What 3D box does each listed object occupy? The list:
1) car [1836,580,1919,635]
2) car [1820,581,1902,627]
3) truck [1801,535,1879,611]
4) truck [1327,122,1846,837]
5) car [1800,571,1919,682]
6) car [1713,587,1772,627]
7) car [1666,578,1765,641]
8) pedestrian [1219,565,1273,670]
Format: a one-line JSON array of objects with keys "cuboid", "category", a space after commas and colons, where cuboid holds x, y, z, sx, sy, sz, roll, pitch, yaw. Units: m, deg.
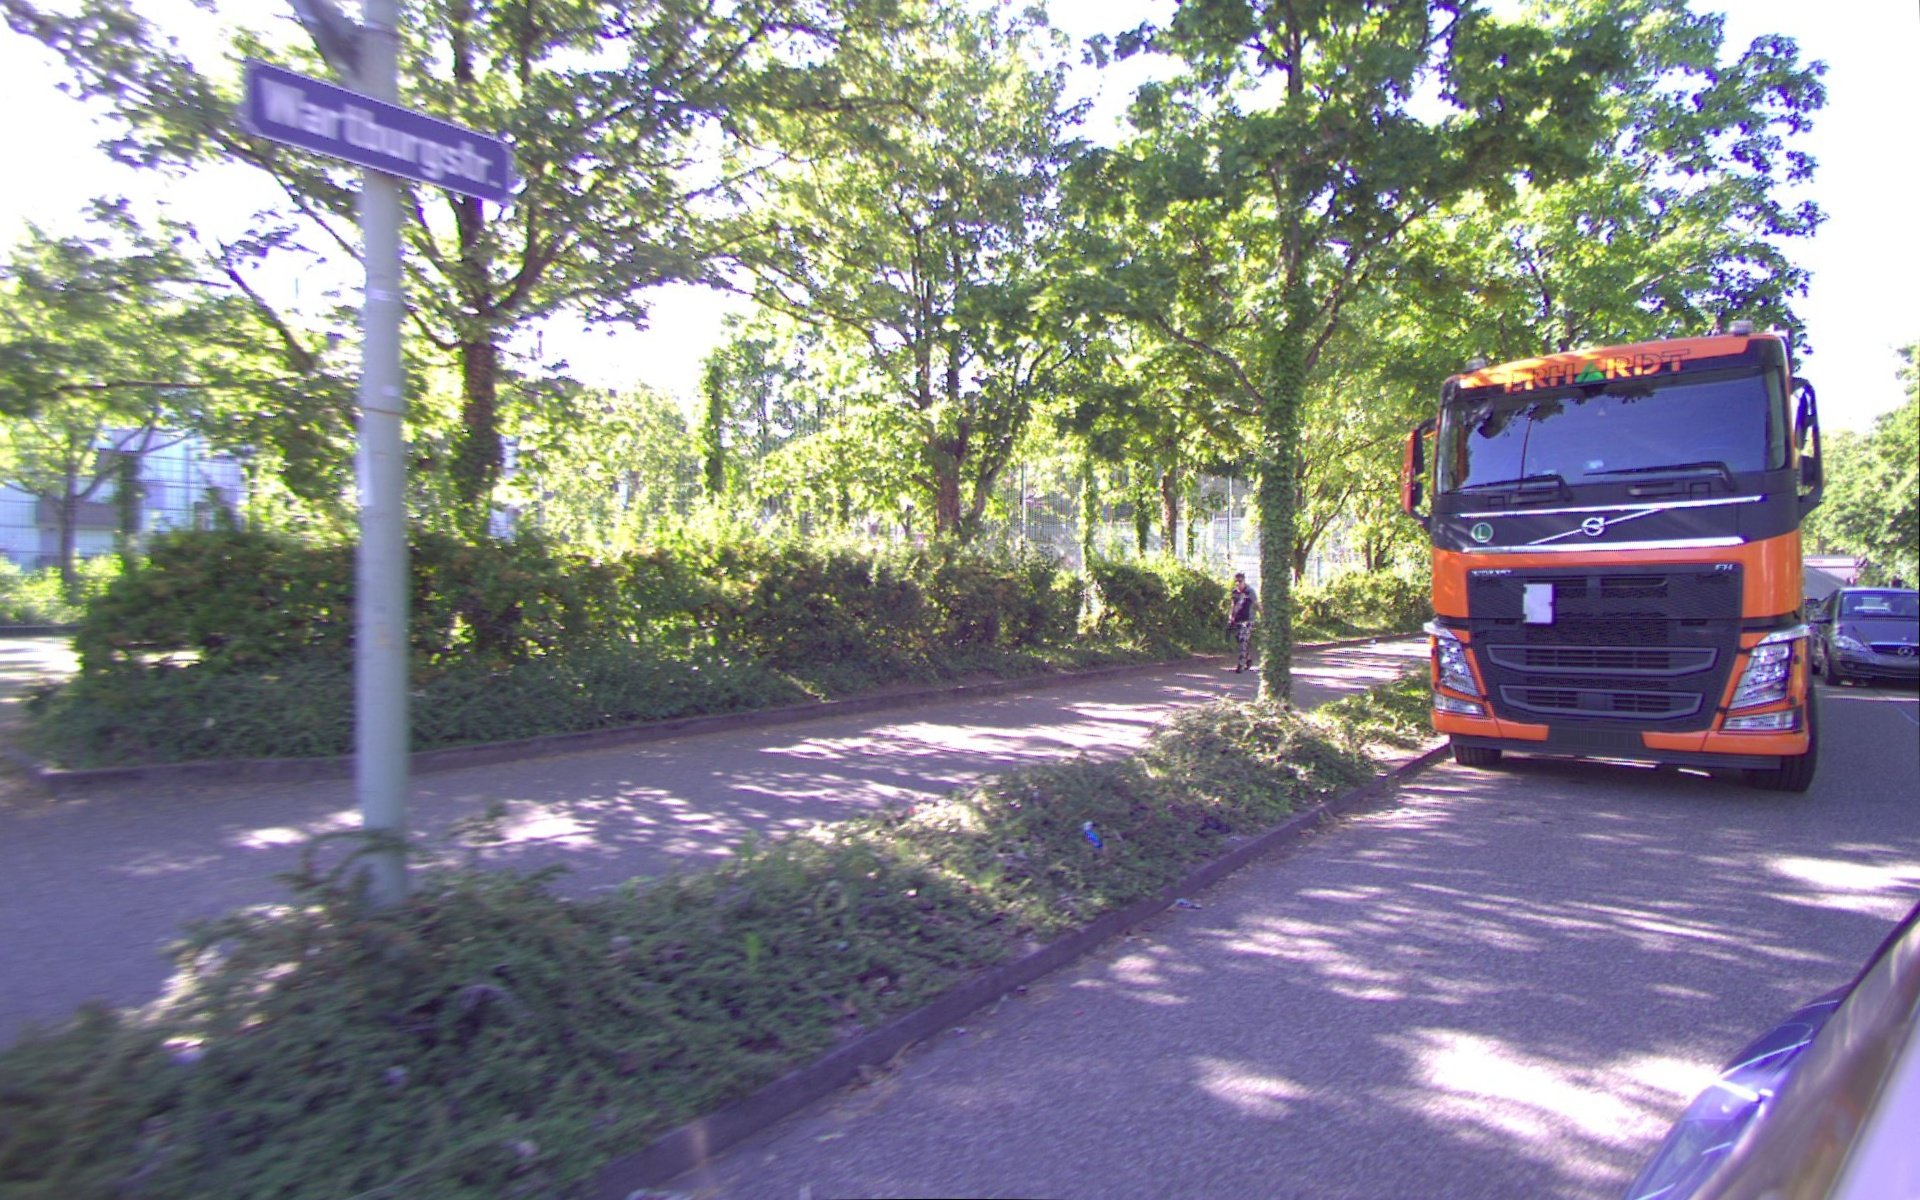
[{"cuboid": [29.028, 0.205, 31.807, 1.989, 1.605, 3.946, 1, 1, 37], "category": "car"}, {"cuboid": [33.509, 0.125, 37.744, 1.966, 1.605, 3.946, 1, 1, 37], "category": "car"}, {"cuboid": [50.656, -1.612, 58.453, 2.792, 4.067, 9.494, 3, 3, 38], "category": "truck"}, {"cuboid": [7.470, -0.806, 11.324, 3.153, 4.399, 10.435, 1, 1, 39], "category": "truck"}, {"cuboid": [15.340, 0.392, 16.650, 1.842, 1.665, 3.712, 1, 0, 32], "category": "car"}, {"cuboid": [35.855, 0.269, 46.462, 1.988, 1.730, 4.274, 1, 1, 36], "category": "car"}, {"cuboid": [20.561, 0.208, 27.704, 1.968, 1.575, 4.101, 1, 1, 34], "category": "car"}, {"cuboid": [4.643, 0.275, 16.422, 0.639, 1.659, 0.631, 1, 0, 41], "category": "pedestrian"}]
